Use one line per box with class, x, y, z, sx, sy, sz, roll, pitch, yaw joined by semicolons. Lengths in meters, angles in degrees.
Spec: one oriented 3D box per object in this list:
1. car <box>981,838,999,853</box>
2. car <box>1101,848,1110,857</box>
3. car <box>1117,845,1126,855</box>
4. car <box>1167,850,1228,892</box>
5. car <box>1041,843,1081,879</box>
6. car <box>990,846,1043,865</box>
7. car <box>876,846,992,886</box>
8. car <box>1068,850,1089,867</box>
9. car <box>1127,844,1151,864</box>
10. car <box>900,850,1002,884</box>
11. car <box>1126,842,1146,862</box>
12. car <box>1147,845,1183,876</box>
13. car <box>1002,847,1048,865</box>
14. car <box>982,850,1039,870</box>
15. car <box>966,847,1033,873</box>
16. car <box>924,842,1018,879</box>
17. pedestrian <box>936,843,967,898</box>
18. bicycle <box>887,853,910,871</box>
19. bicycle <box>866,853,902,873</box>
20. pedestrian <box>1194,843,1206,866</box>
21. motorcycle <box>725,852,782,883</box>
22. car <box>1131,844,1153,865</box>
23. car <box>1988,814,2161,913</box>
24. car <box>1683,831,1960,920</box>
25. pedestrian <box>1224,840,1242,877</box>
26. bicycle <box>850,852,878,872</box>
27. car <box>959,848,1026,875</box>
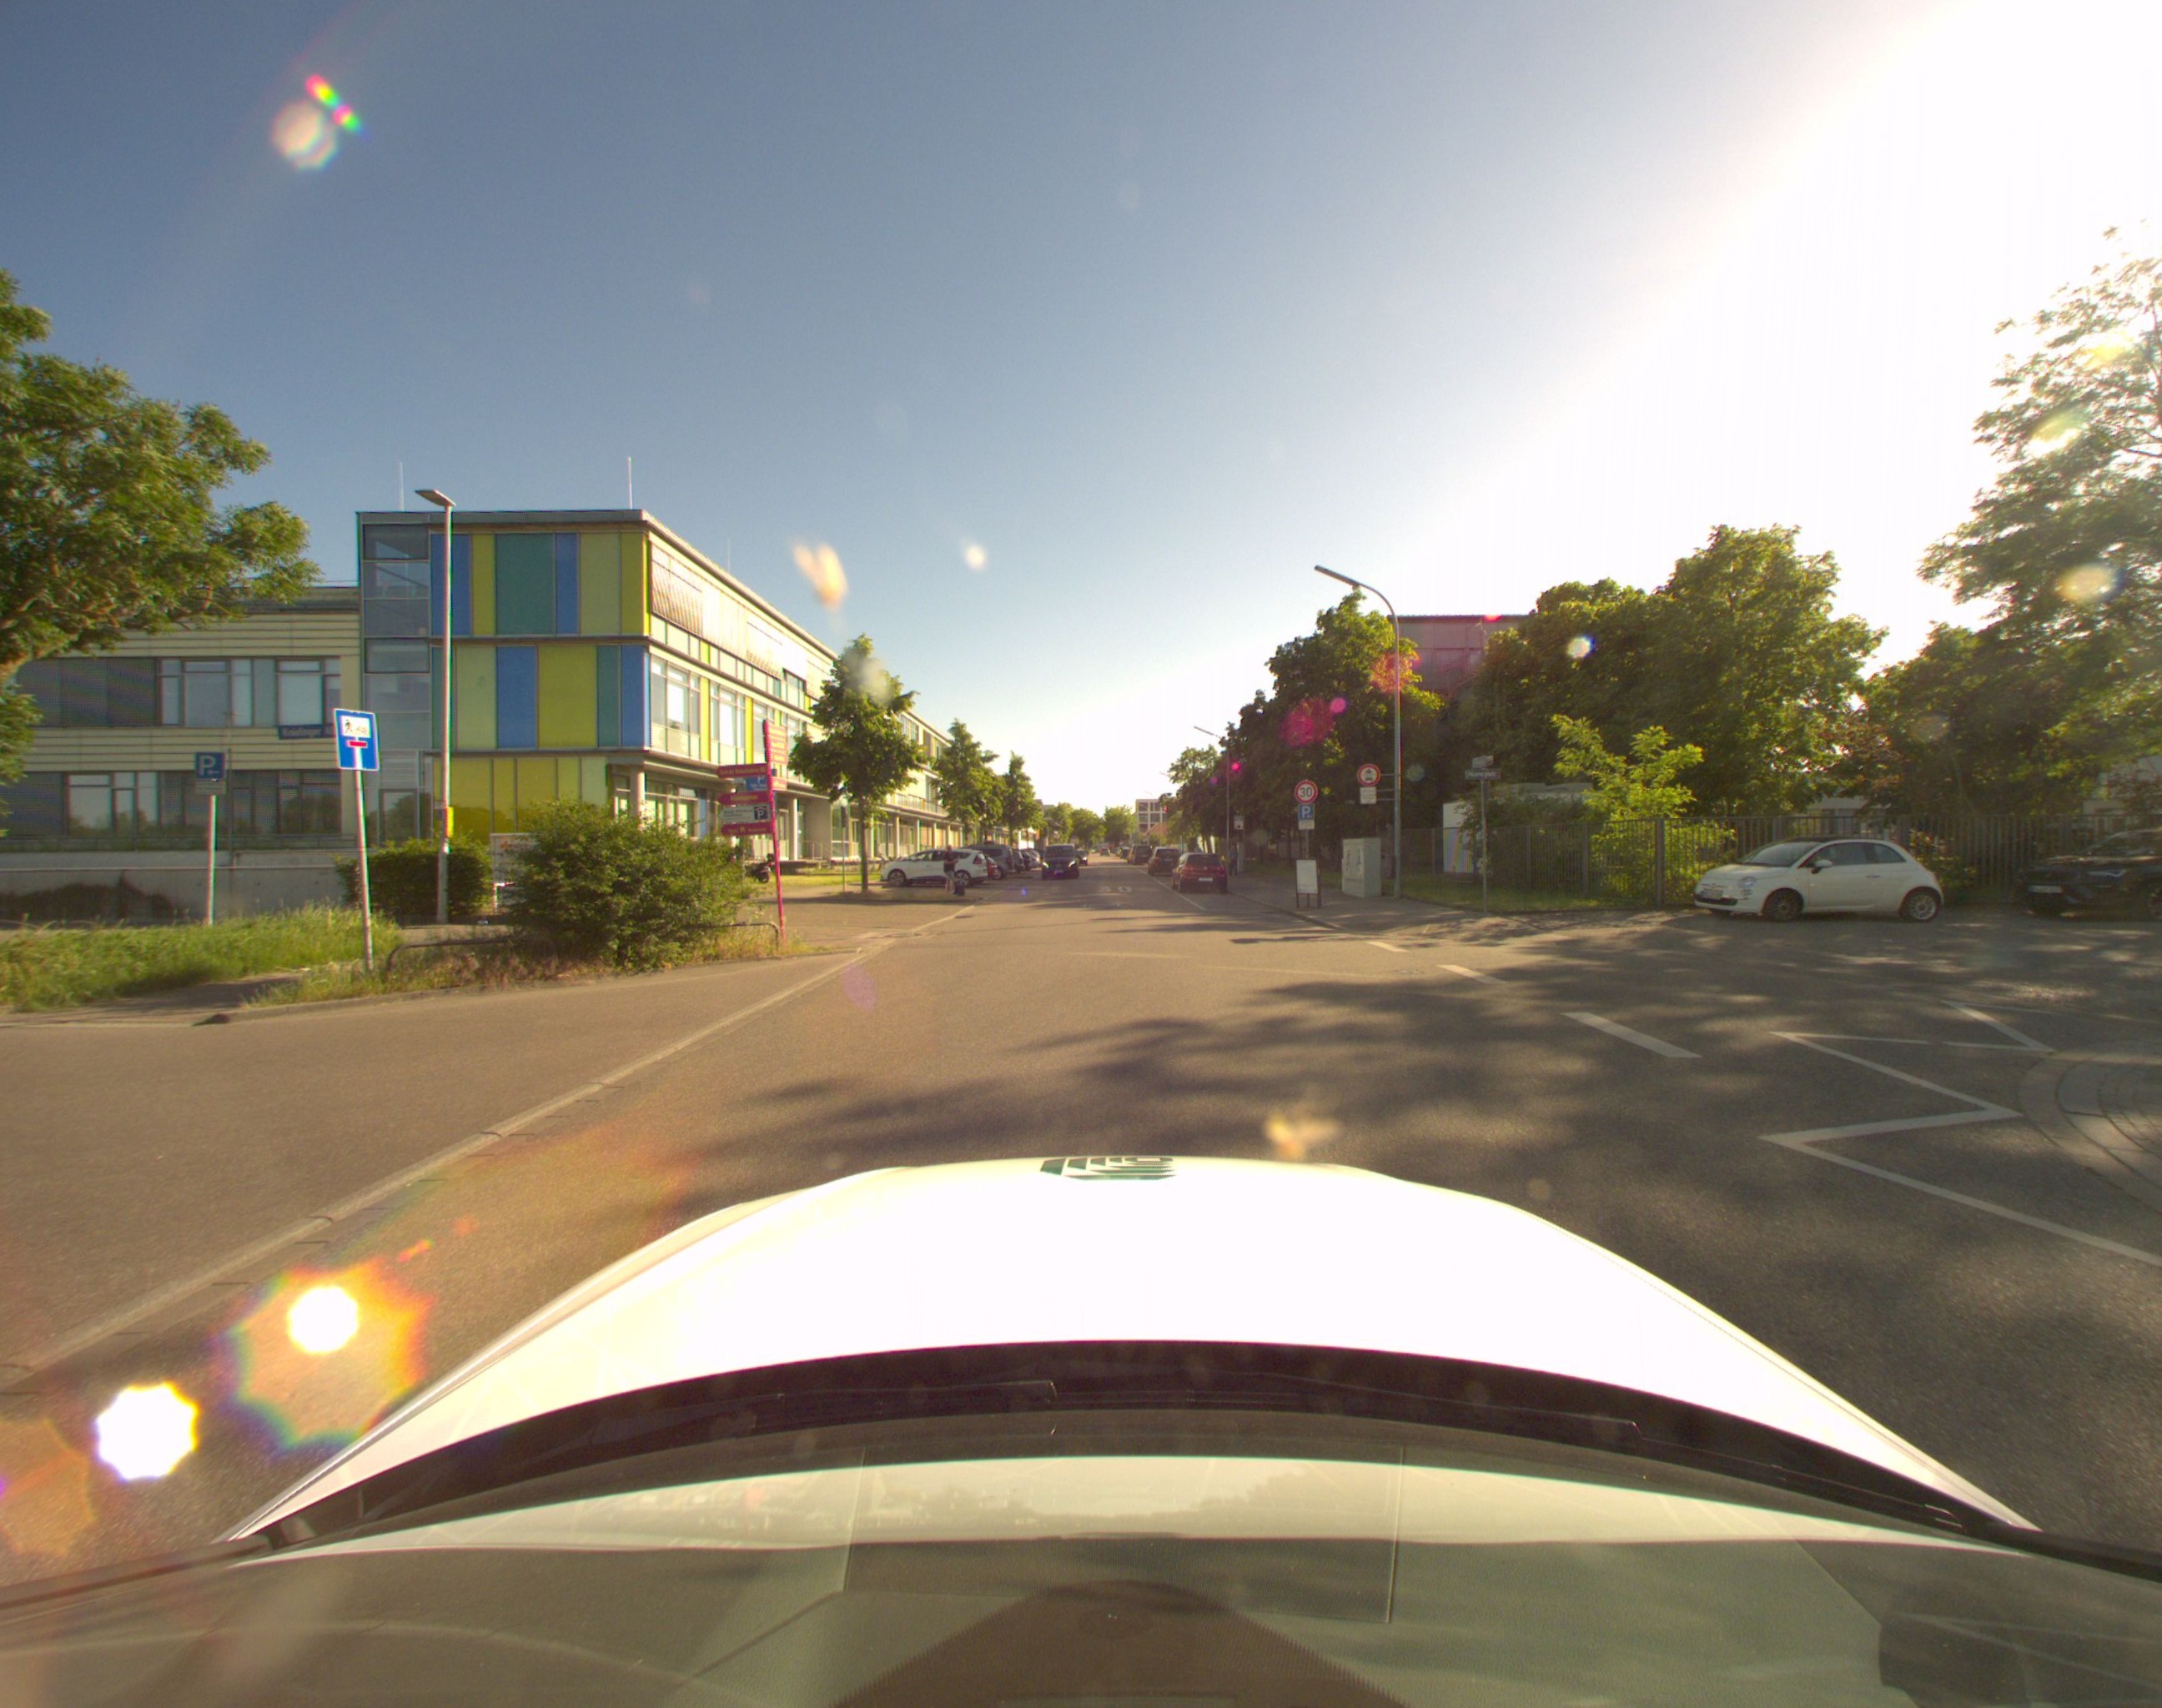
car;-12.810;-1.165;115.153;1.986;2.014;4.001;0;-1;1
car;4.349;-0.305;145.118;1.737;1.543;4.001;0;0;1
car;6.657;-0.622;133.199;1.431;1.560;3.043;-1;0;1
car;4.377;0.602;31.222;1.714;1.454;4.652;0;0;1
car;-1.025;0.332;45.000;1.948;1.867;5.256;-1;0;1
car;-5.249;0.144;66.279;4.204;1.462;1.870;1;0;-3
car;-6.308;0.521;35.236;4.590;1.651;1.870;0;0;4
car;-0.216;0.379;74.563;1.697;1.451;4.088;-2;0;1
car;5.558;-0.061;78.464;1.986;1.822;4.199;-2;0;1
car;-6.048;0.592;38.156;4.417;1.501;1.828;0;0;1
car;5.664;-0.204;84.711;1.868;1.978;4.001;-2;0;1
car;4.818;0.323;47.261;1.805;1.666;4.595;1;1;2
car;-5.179;0.173;76.087;4.204;1.603;1.870;1;0;-3
car;-5.084;0.412;59.058;3.977;1.358;1.741;1;0;-3
car;-5.277;0.373;53.461;4.236;1.611;2.046;1;0;-3
car;-5.823;0.341;43.515;4.725;1.865;1.828;1;1;1
pedestrian;-4.430;0.540;27.869;0.854;1.842;0.826;1;0;3
bicycle;-11.700;0.499;52.203;0.888;1.111;1.892;1;1;5
bicycle;-11.684;0.524;48.413;0.861;1.153;2.385;1;0;22
pedestrian;9.011;0.019;61.769;0.696;1.661;0.752;-3;0;1
motorcycle;-13.091;0.534;32.551;2.037;1.149;0.499;2;1;-2
car;5.409;0.021;72.222;1.726;1.830;3.907;-1;0;2
car;19.141;0.129;14.426;4.136;1.637;1.756;-1;0;2
car;13.290;0.362;14.771;3.533;1.486;1.601;-1;0;2
pedestrian;7.589;0.216;40.723;0.715;1.758;0.885;-3;0;2
bicycle;-13.041;0.492;49.015;0.863;1.153;1.998;1;0;11
car;-5.423;0.433;50.507;3.977;1.607;1.870;1;0;-3
